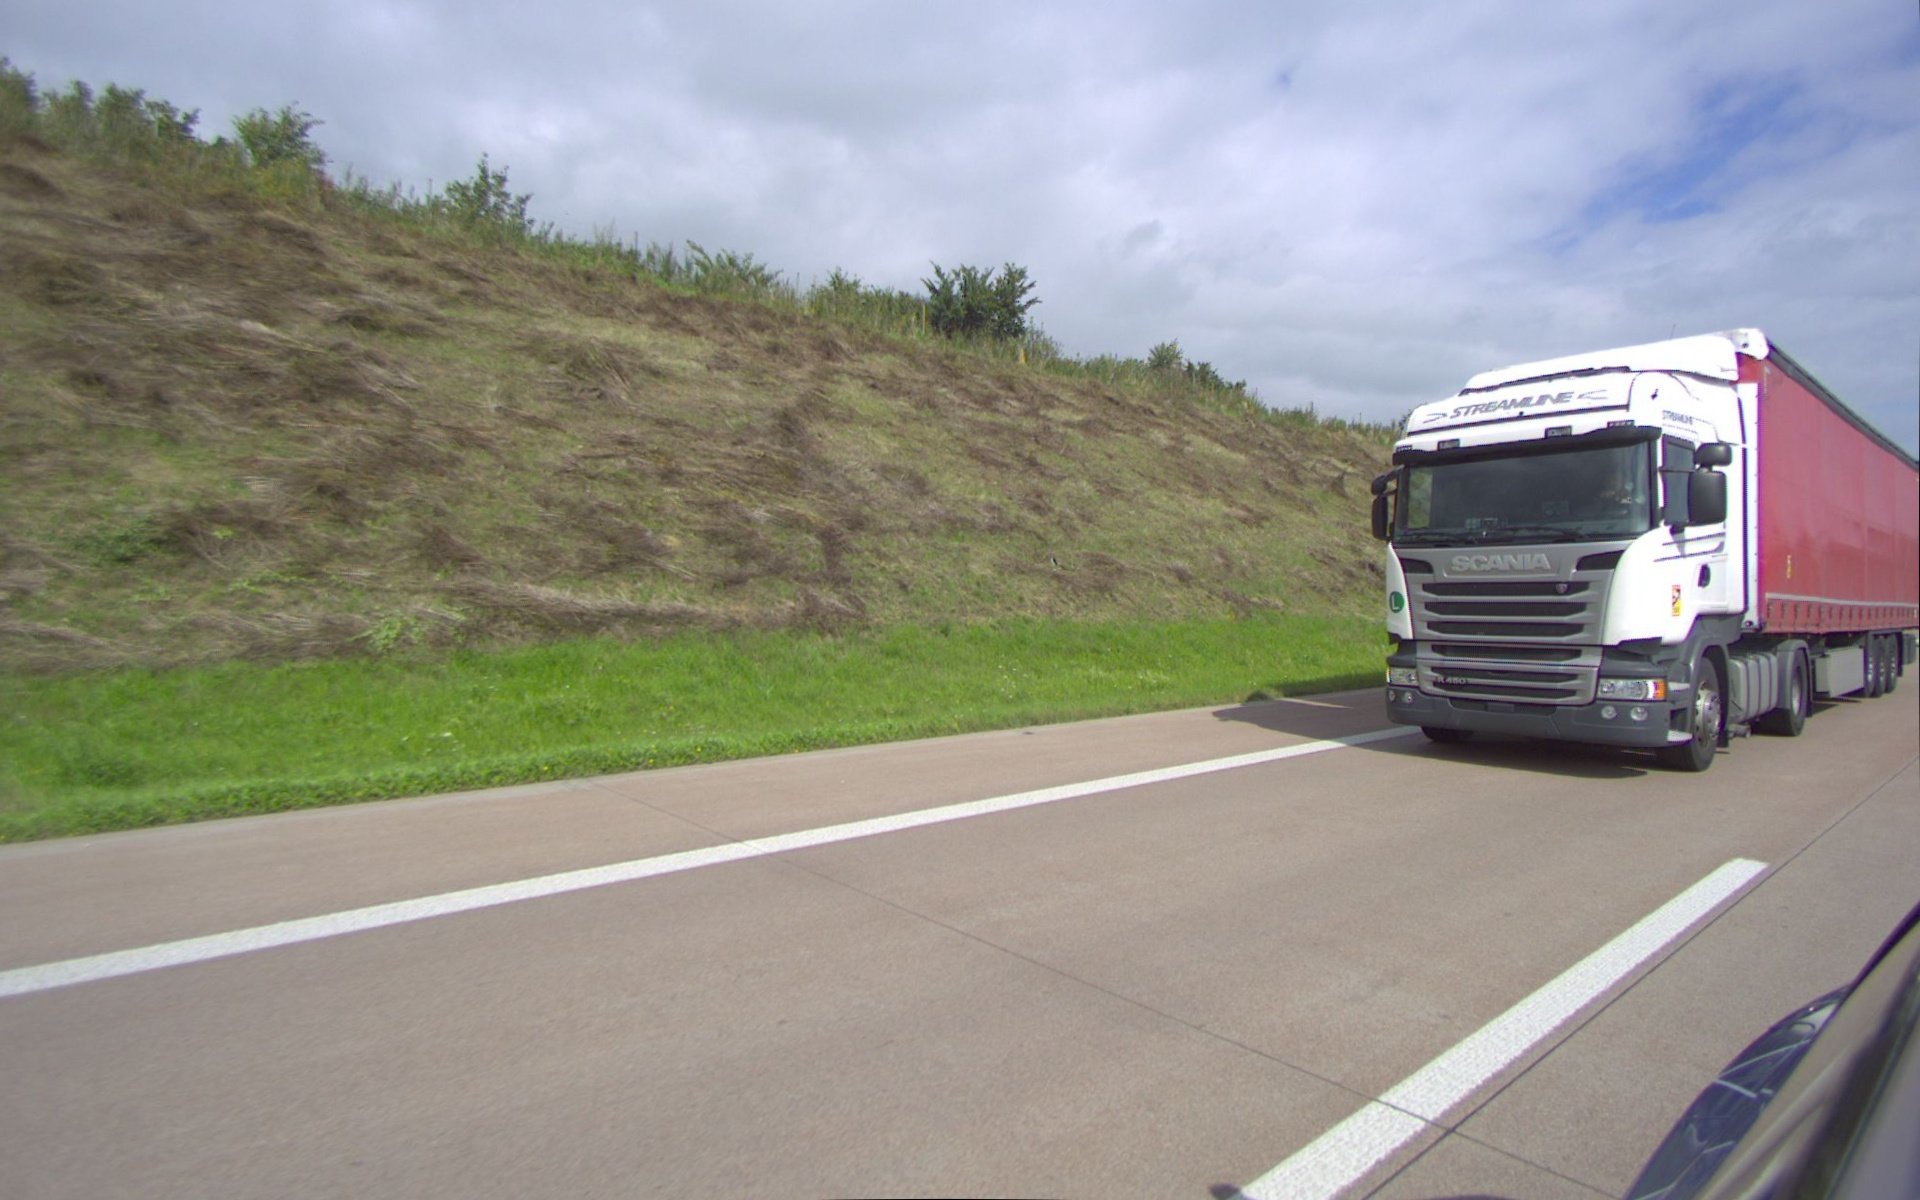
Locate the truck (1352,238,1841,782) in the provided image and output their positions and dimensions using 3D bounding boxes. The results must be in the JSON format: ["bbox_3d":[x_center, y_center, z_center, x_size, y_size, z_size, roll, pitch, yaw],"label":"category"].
[{"bbox_3d":[7.115,-0.716,10.885,6.500,4.157,2.679,0,1,-41],"label":"truck"}]

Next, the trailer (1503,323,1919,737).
[{"bbox_3d":[12.154,-0.738,15.288,12.565,4.145,2.677,0,1,-41],"label":"trailer"}]
